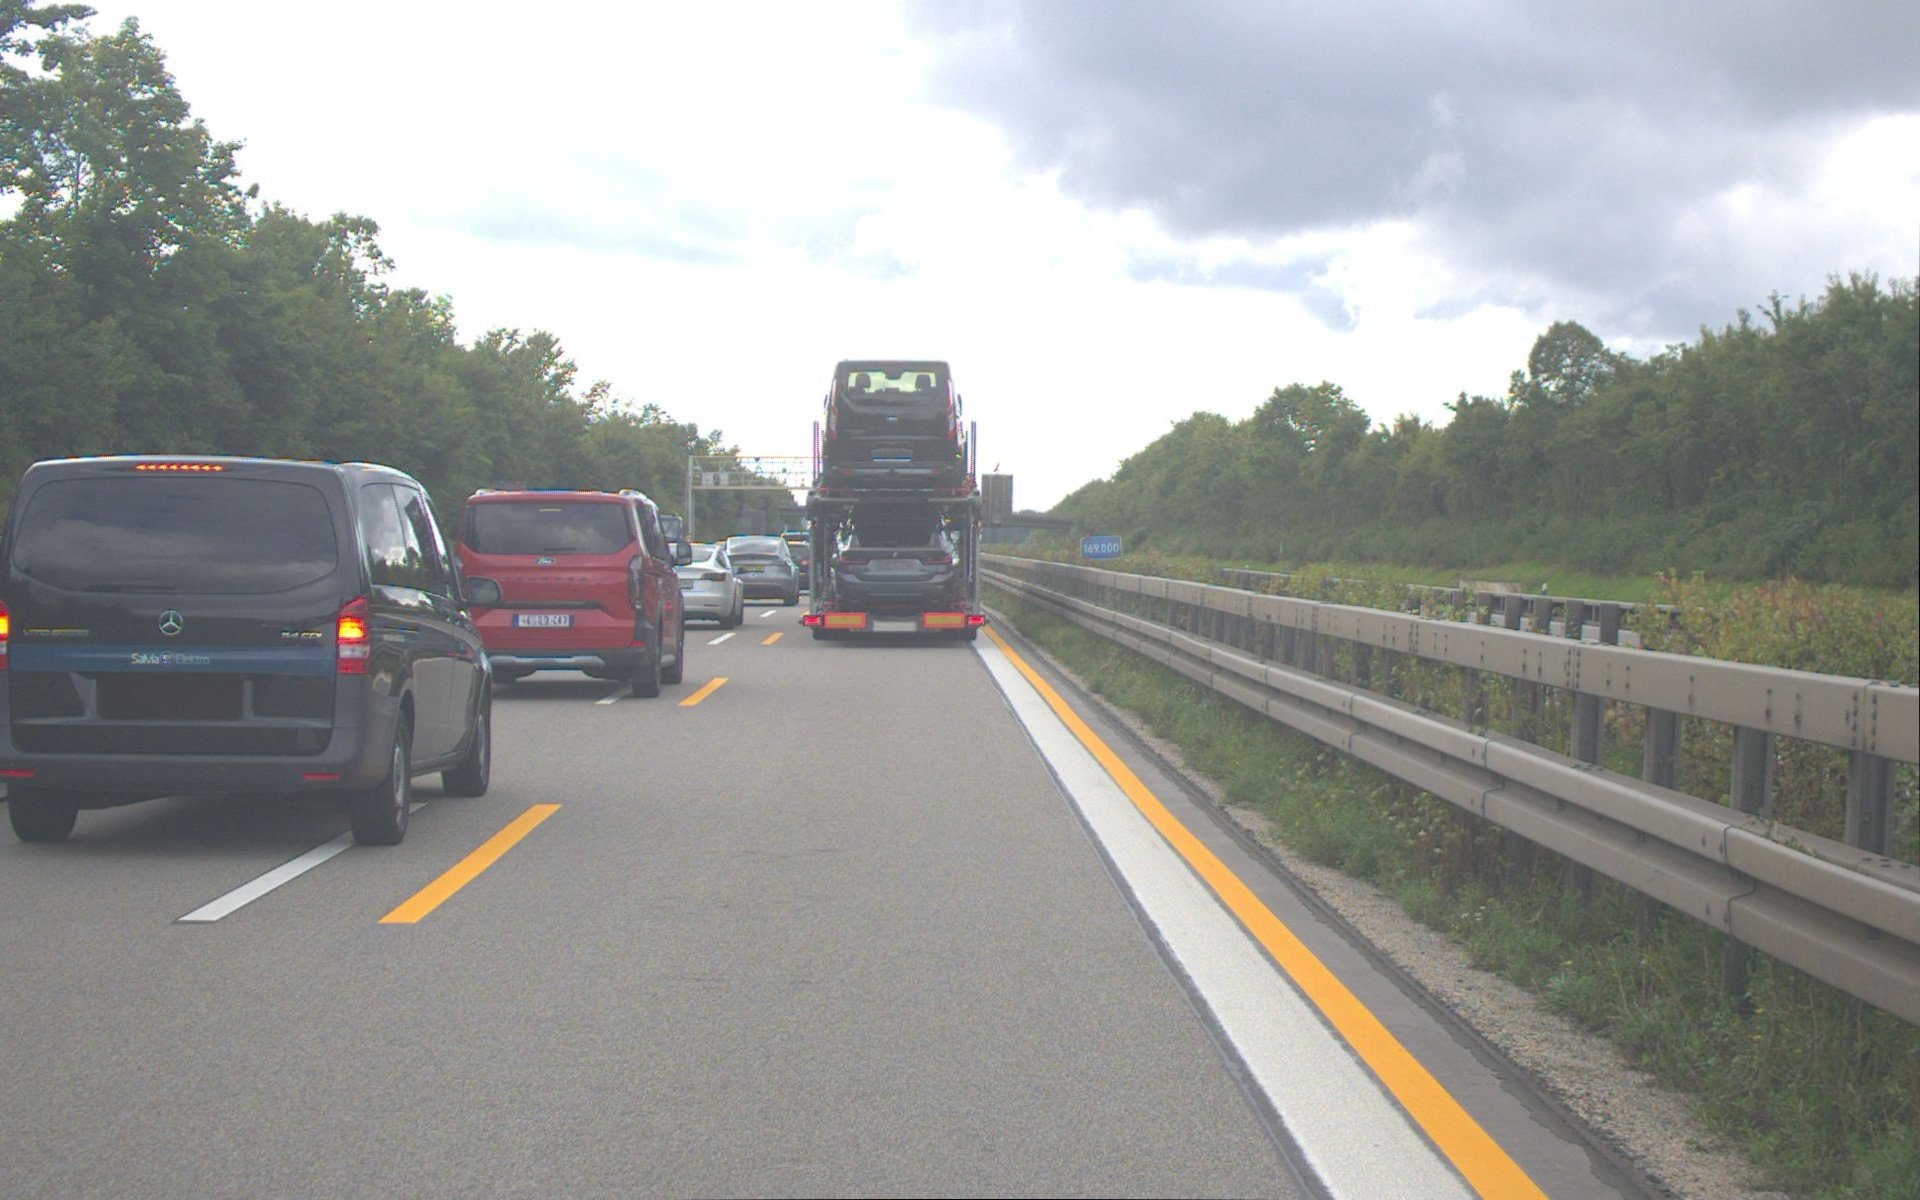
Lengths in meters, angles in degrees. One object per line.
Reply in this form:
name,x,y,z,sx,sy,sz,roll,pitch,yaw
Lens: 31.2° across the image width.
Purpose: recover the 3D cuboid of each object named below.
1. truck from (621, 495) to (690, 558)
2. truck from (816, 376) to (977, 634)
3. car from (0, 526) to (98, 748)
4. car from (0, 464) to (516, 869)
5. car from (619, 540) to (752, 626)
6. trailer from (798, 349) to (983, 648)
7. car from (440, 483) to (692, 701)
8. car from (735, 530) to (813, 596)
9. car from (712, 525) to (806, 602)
truck,-13.489,-3.249,152.587,2.490,2.708,6.667,1,1,-1
truck,-1.031,-1.563,57.614,2.515,4.091,5.685,1,1,0
car,-7.493,0.228,23.815,1.998,1.494,4.901,0,1,-2
car,-3.691,0.252,18.386,1.993,1.836,5.610,0,1,-1
car,-4.667,-0.318,58.964,2.031,1.426,4.578,0,1,-2
trailer,-0.996,-1.489,52.912,2.515,4.091,11.114,1,1,0
car,-3.803,-0.113,33.909,2.031,2.007,4.578,0,1,-1
car,-5.028,-1.032,93.476,2.031,1.751,4.578,0,1,-2
car,-4.647,-0.864,80.037,2.031,1.751,4.578,0,1,-2
